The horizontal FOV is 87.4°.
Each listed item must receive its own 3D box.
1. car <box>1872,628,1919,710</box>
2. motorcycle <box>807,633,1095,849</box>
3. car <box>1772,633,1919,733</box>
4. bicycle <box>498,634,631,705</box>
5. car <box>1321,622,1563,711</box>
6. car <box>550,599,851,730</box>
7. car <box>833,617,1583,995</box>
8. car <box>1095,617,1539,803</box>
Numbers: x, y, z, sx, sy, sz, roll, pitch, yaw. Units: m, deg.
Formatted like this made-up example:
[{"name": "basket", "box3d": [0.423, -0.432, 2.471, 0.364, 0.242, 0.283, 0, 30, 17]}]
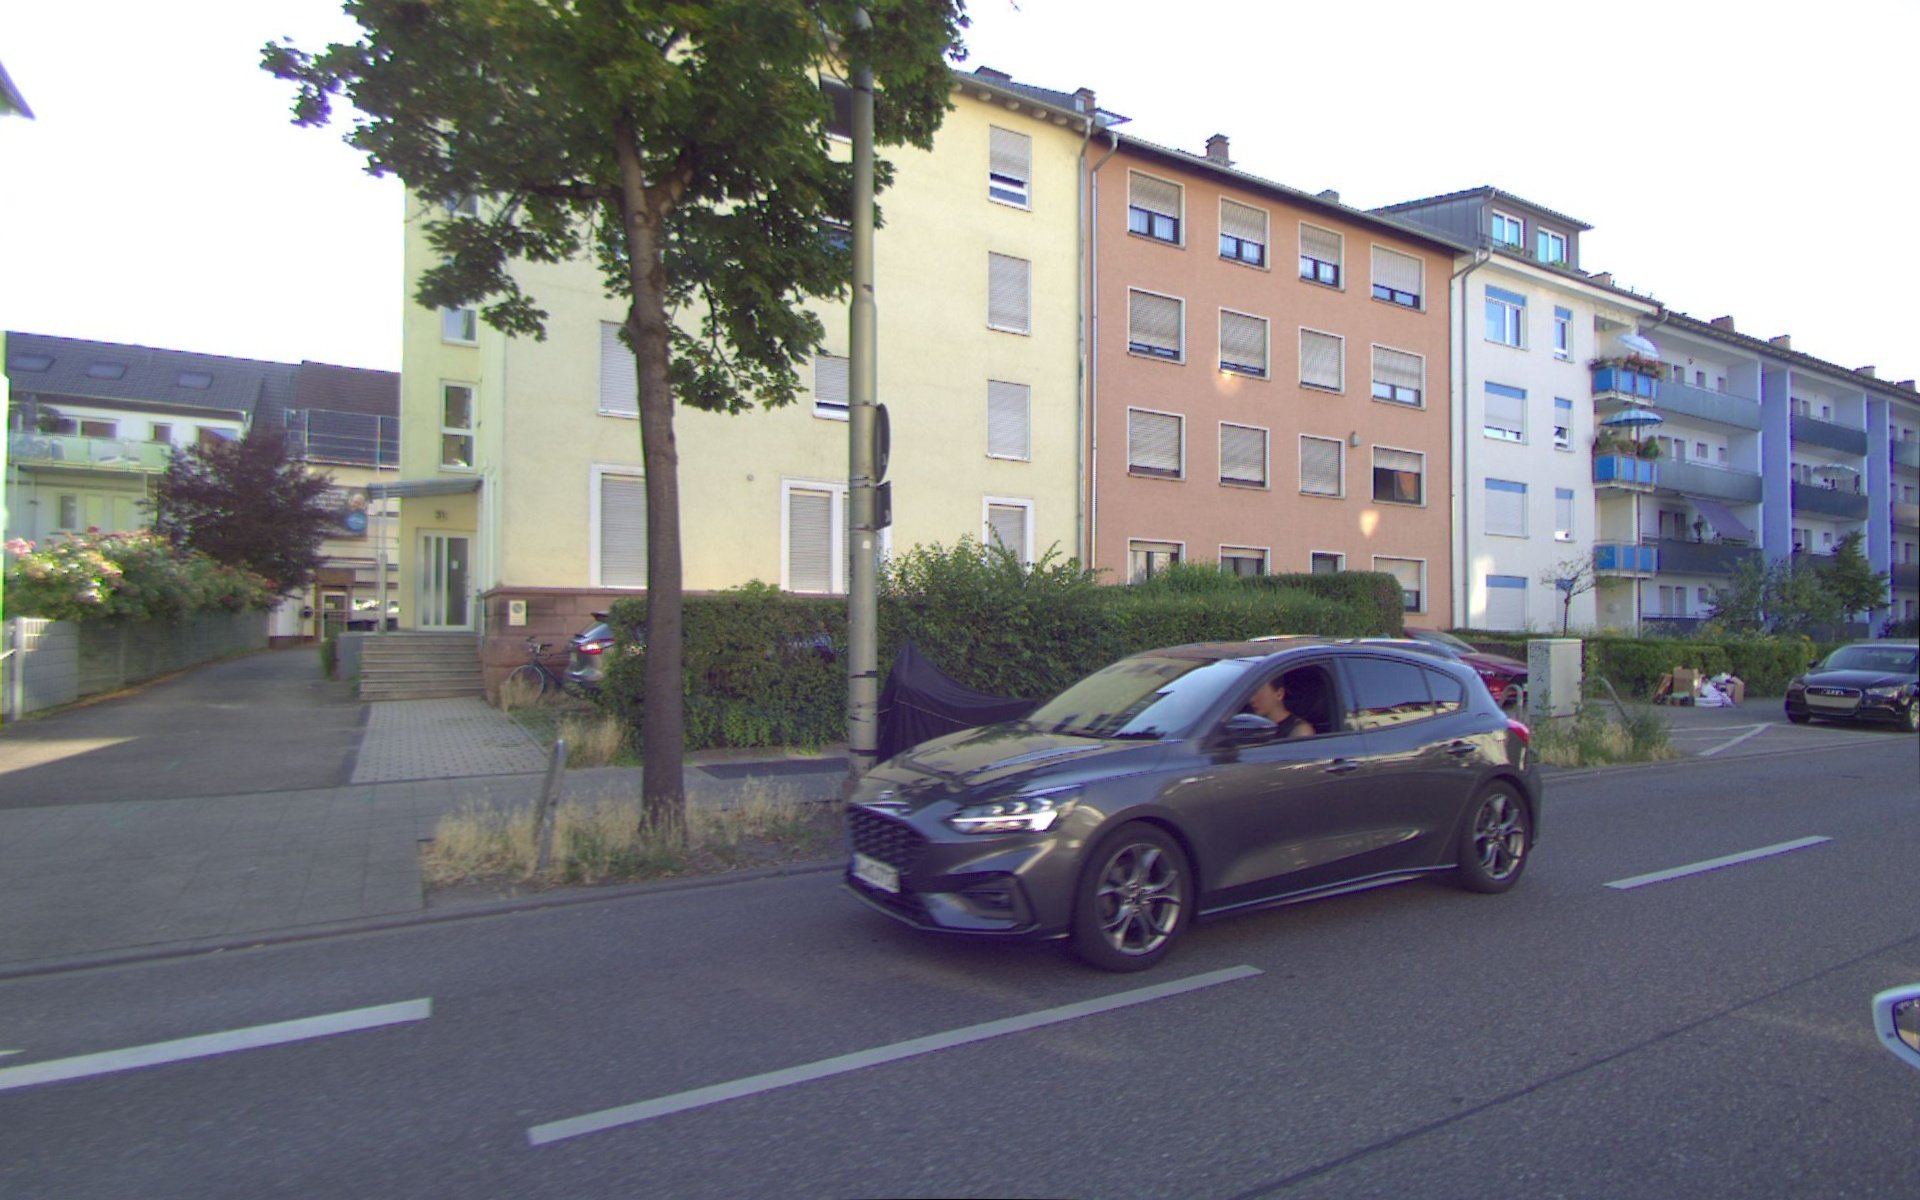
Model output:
[{"name": "car", "box3d": [20.045, 1.378, 19.962, 4.011, 1.512, 1.698, 1, 1, -30]}, {"name": "motorcycle", "box3d": [-0.077, 1.012, 7.926, 1.991, 1.407, 0.989, 2, 0, 29]}, {"name": "car", "box3d": [15.860, 1.356, 17.358, 3.768, 1.492, 1.604, 1, 1, -31]}, {"name": "bicycle", "box3d": [-6.462, 1.123, 16.477, 1.975, 1.104, 0.482, 1, -1, -30]}, {"name": "car", "box3d": [9.461, 1.235, 20.030, 1.893, 1.432, 3.969, 1, 1, -29]}, {"name": "car", "box3d": [-3.805, 0.907, 14.879, 3.954, 1.705, 1.818, 2, -1, -31]}, {"name": "car", "box3d": [1.557, 0.893, 5.804, 4.244, 1.490, 1.692, 2, -3, -30]}, {"name": "car", "box3d": [3.711, 0.970, 10.202, 4.535, 1.524, 1.770, 1, -1, -31]}]
